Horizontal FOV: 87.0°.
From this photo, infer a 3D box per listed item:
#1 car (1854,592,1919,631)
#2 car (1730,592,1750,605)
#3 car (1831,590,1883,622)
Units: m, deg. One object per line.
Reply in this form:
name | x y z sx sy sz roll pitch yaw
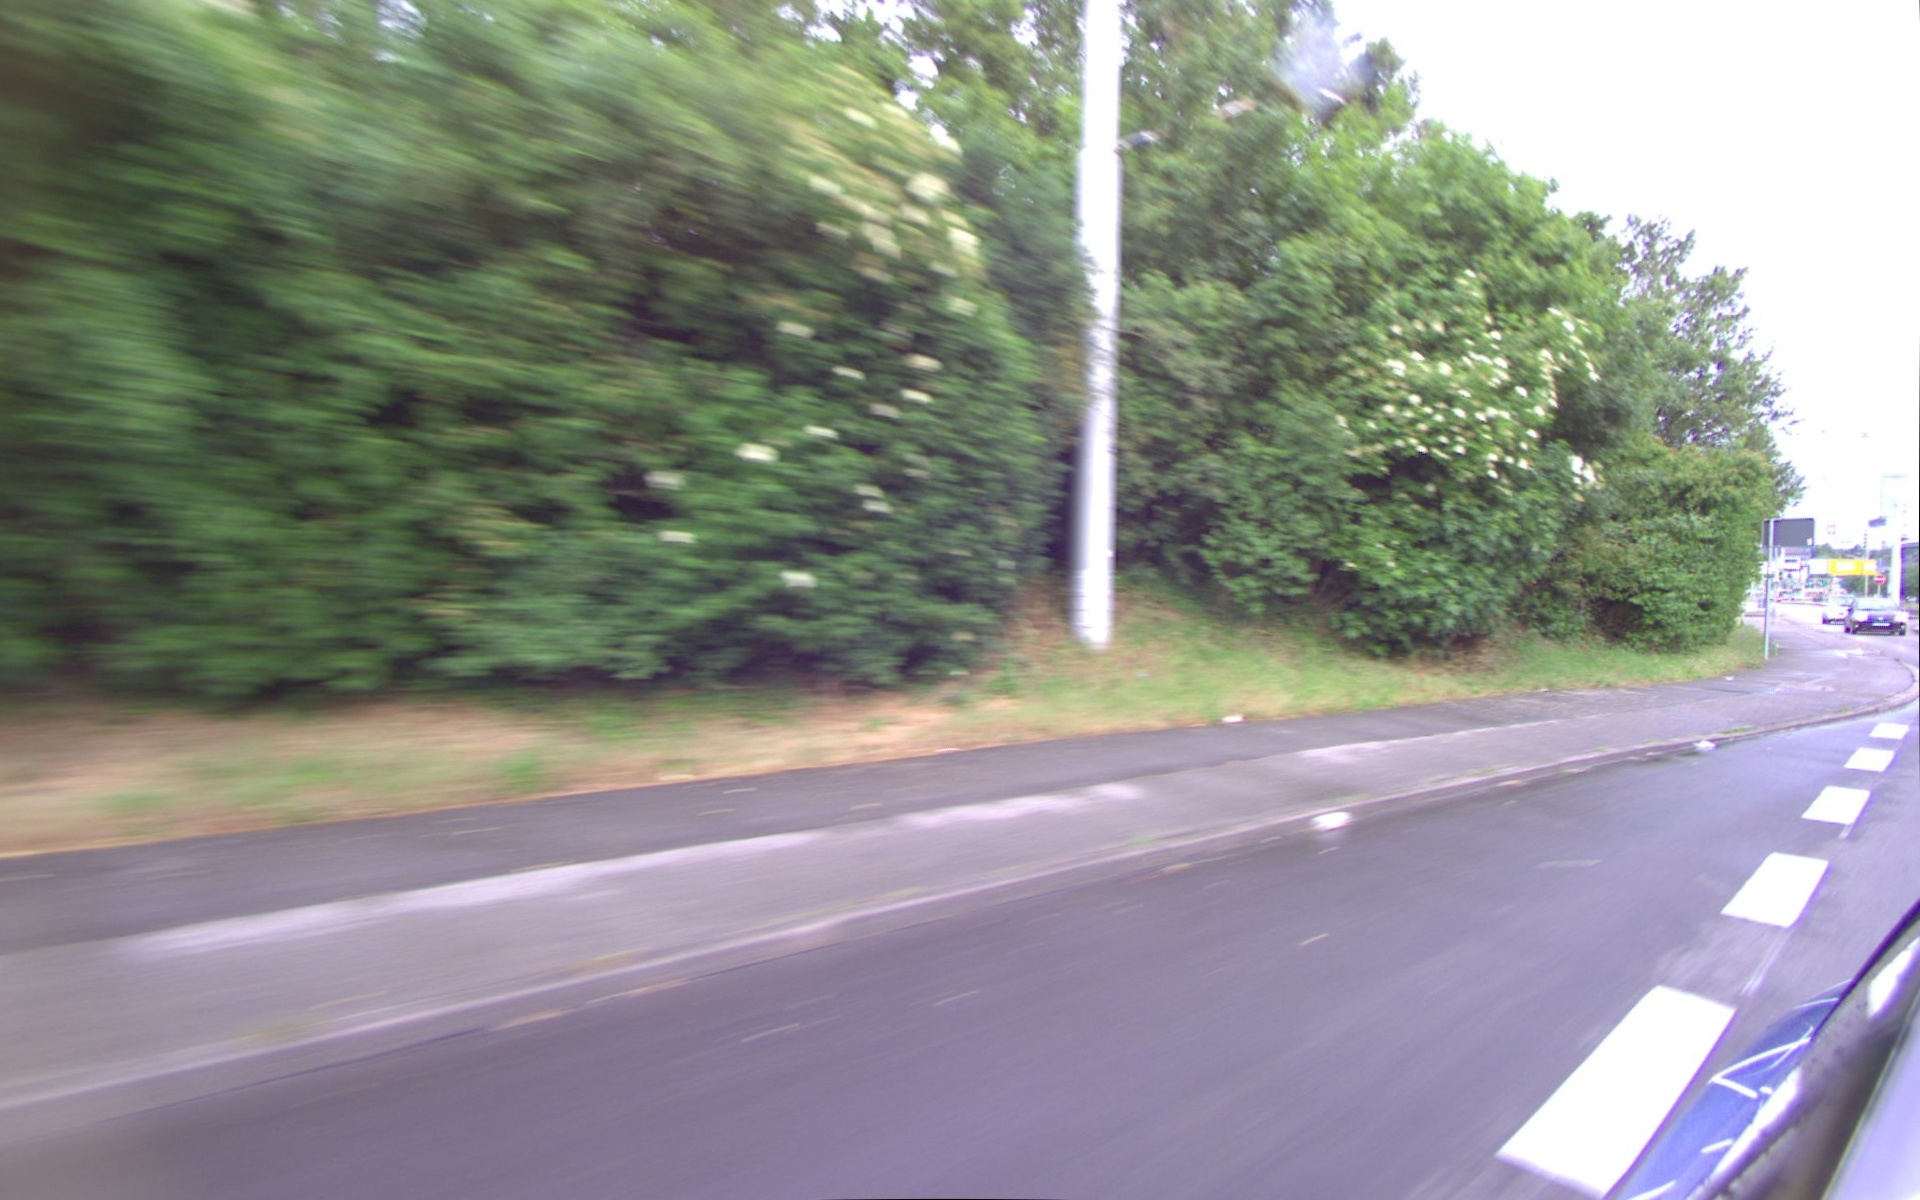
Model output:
car | 38.201 0.424 41.780 1.773 1.520 3.943 1 1 39
car | 89.242 -0.198 115.841 1.693 1.456 3.913 1 1 37
car | 47.724 0.296 53.916 1.991 1.591 3.941 -1 0 41
